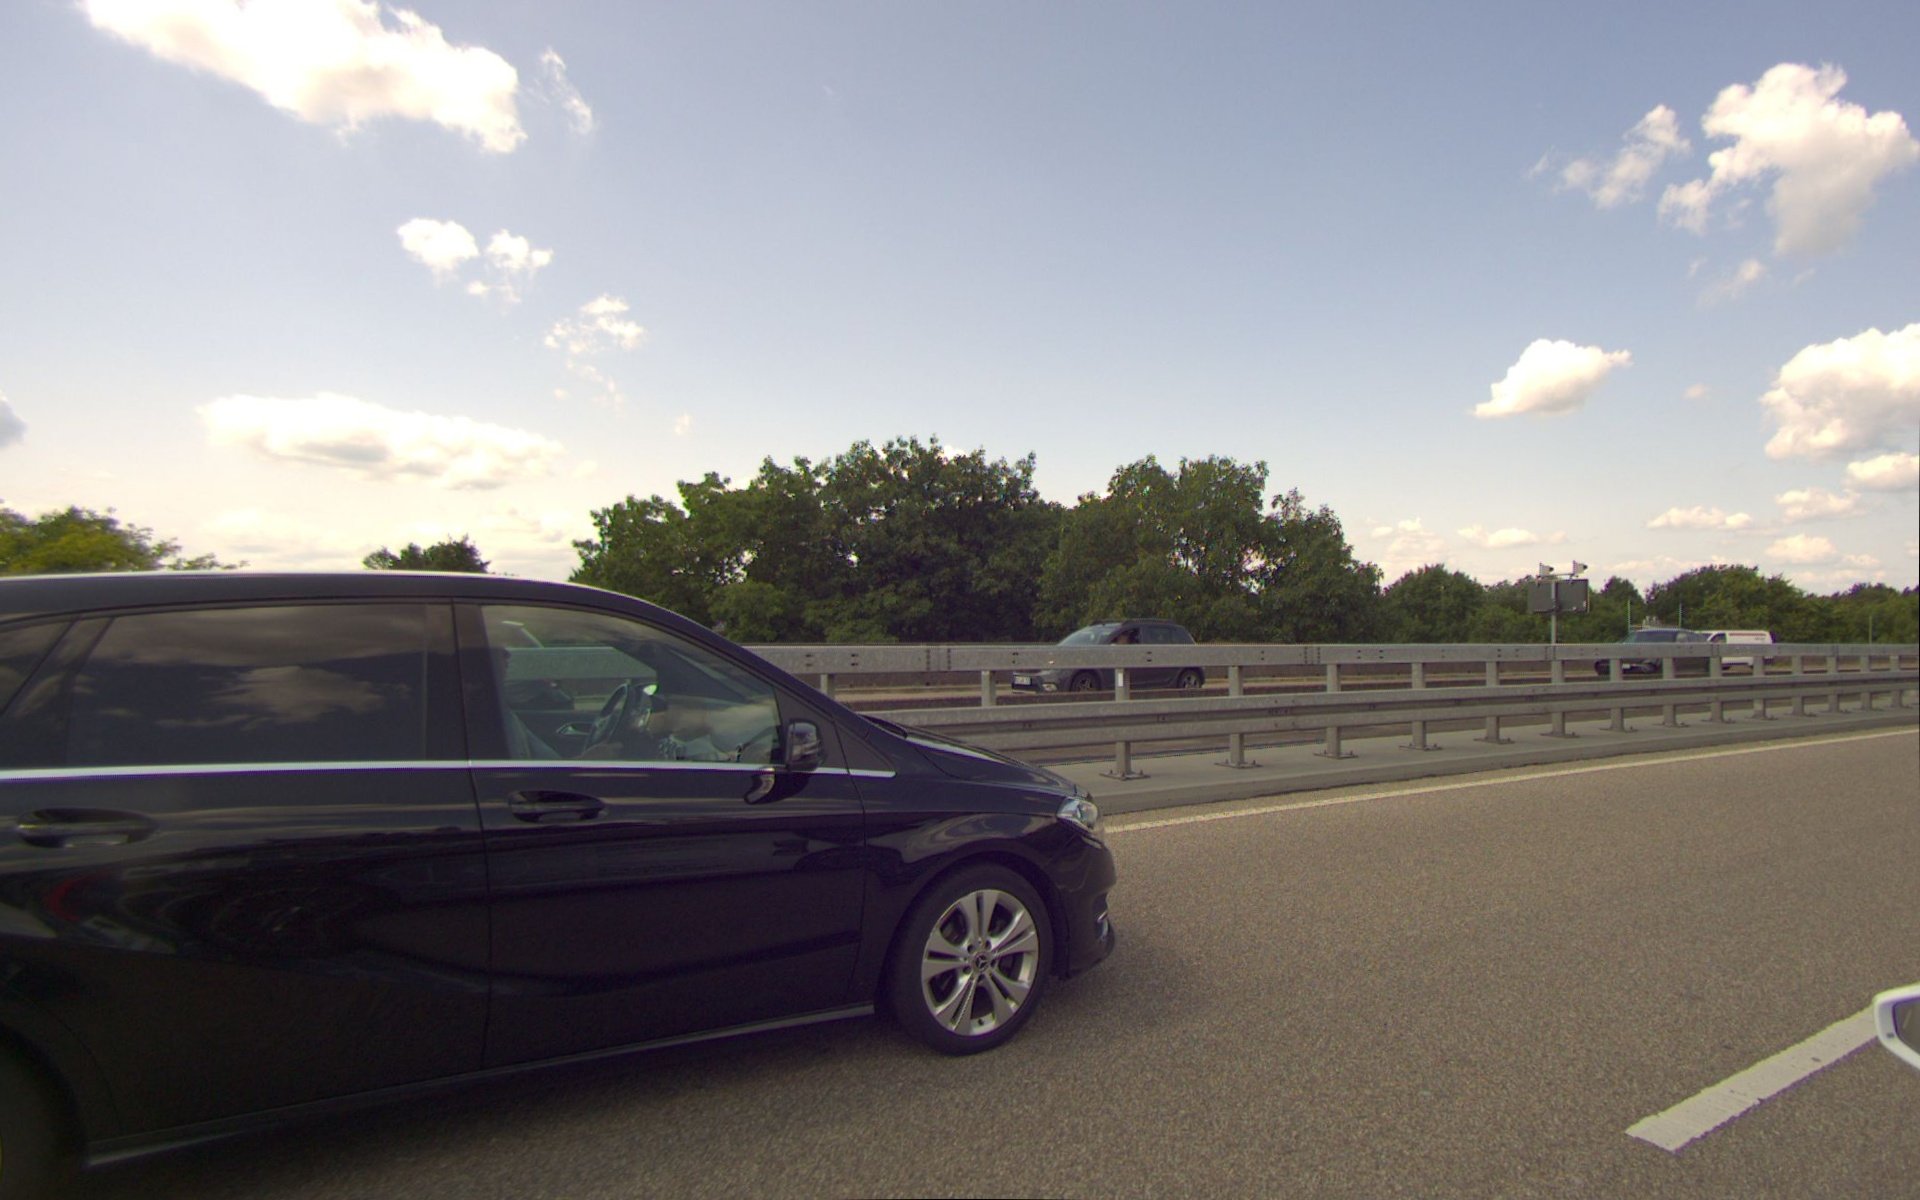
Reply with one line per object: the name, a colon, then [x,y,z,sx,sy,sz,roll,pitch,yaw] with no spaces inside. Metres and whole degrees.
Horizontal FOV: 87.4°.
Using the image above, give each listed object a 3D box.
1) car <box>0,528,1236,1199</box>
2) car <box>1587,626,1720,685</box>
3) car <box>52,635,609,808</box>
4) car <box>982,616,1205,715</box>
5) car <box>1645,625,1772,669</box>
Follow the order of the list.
car: [-1.325,0.646,3.415,4.540,1.548,1.703,2,0,-31]
car: [21.757,1.703,31.479,4.465,1.662,1.879,2,0,-33]
car: [-5.439,0.968,9.182,3.955,1.201,1.672,2,0,-32]
car: [2.578,1.183,19.147,3.955,1.660,1.812,2,0,-32]
car: [36.101,2.245,48.483,5.077,1.923,1.996,2,0,-11]
